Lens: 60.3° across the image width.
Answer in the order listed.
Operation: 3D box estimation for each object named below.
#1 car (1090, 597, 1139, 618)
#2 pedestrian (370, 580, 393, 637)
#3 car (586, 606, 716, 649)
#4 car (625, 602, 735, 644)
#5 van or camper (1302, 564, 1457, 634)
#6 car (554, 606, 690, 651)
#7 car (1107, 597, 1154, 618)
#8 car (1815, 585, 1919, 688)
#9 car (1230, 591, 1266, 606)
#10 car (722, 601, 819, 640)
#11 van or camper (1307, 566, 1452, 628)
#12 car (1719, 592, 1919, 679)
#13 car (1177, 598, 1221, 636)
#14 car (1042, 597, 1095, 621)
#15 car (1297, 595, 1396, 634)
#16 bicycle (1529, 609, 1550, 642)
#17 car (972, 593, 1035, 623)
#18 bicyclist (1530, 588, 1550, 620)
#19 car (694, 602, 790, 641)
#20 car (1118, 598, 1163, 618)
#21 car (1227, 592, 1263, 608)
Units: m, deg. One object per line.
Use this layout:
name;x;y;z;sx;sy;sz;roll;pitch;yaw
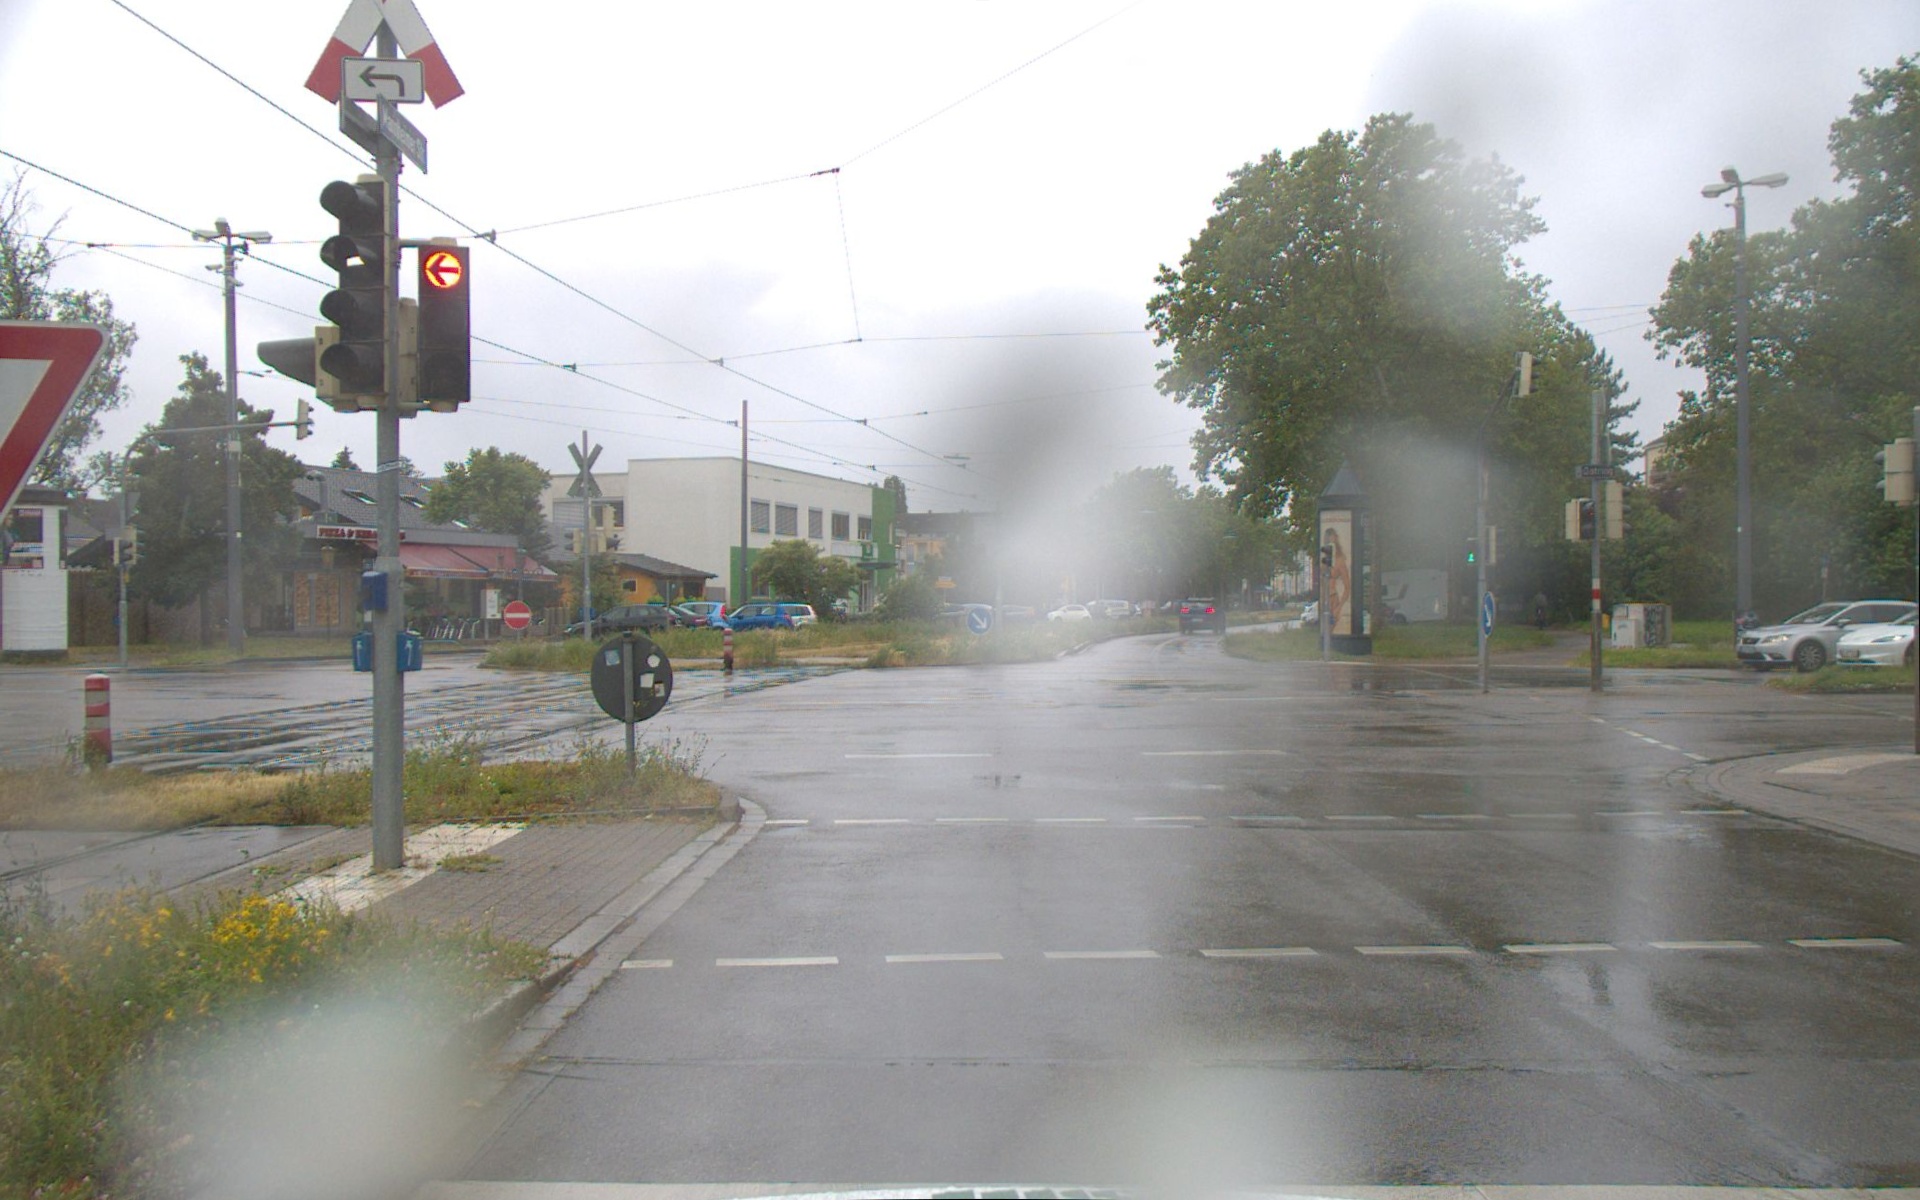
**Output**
car;13.532;0.653;145.079;3.916;1.789;2.004;1;0;-12
pedestrian;-21.090;0.297;60.318;0.713;2.049;0.789;1;-1;-23
car;-11.398;1.019;61.207;4.405;1.443;1.858;-2;0;0
car;-10.884;0.887;64.516;3.903;1.609;1.859;0;0;4
van or camper;20.506;-0.042;80.789;7.168;3.234;3.264;1;0;17
car;-11.971;0.997;58.791;4.385;1.443;1.858;-2;0;0
car;15.889;0.694;154.078;3.916;1.864;1.994;1;0;-12
car;18.882;0.705;31.305;4.506;1.860;1.931;1;0;-7
car;35.504;-0.192;203.961;3.909;1.864;1.998;1;0;-5
car;-8.351;0.879;72.772;4.040;1.670;1.922;0;0;-15
van or camper;22.849;-0.177;90.025;7.274;3.234;3.262;1;0;22
car;18.465;0.732;34.627;4.309;1.721;1.931;1;0;-7
car;11.221;0.783;77.581;1.767;1.716;3.914;1;0;12
car;8.305;0.689;126.705;3.706;1.732;1.832;1;0;-11
car;18.201;0.661;77.859;4.352;1.747;2.000;1;0;21
bicycle;26.313;1.165;75.105;0.843;1.450;2.704;1;0;19
car;2.900;0.504;110.128;3.911;1.920;1.997;1;0;-7
bicyclist;26.428;0.182;75.418;0.843;1.450;0.957;1;-1;19
car;-9.194;0.879;69.577;3.916;1.609;1.924;0;0;-12
car;17.362;0.741;159.170;3.909;1.864;1.998;1;0;-5
car;34.297;-0.029;199.208;3.909;1.864;1.998;1;0;-5
